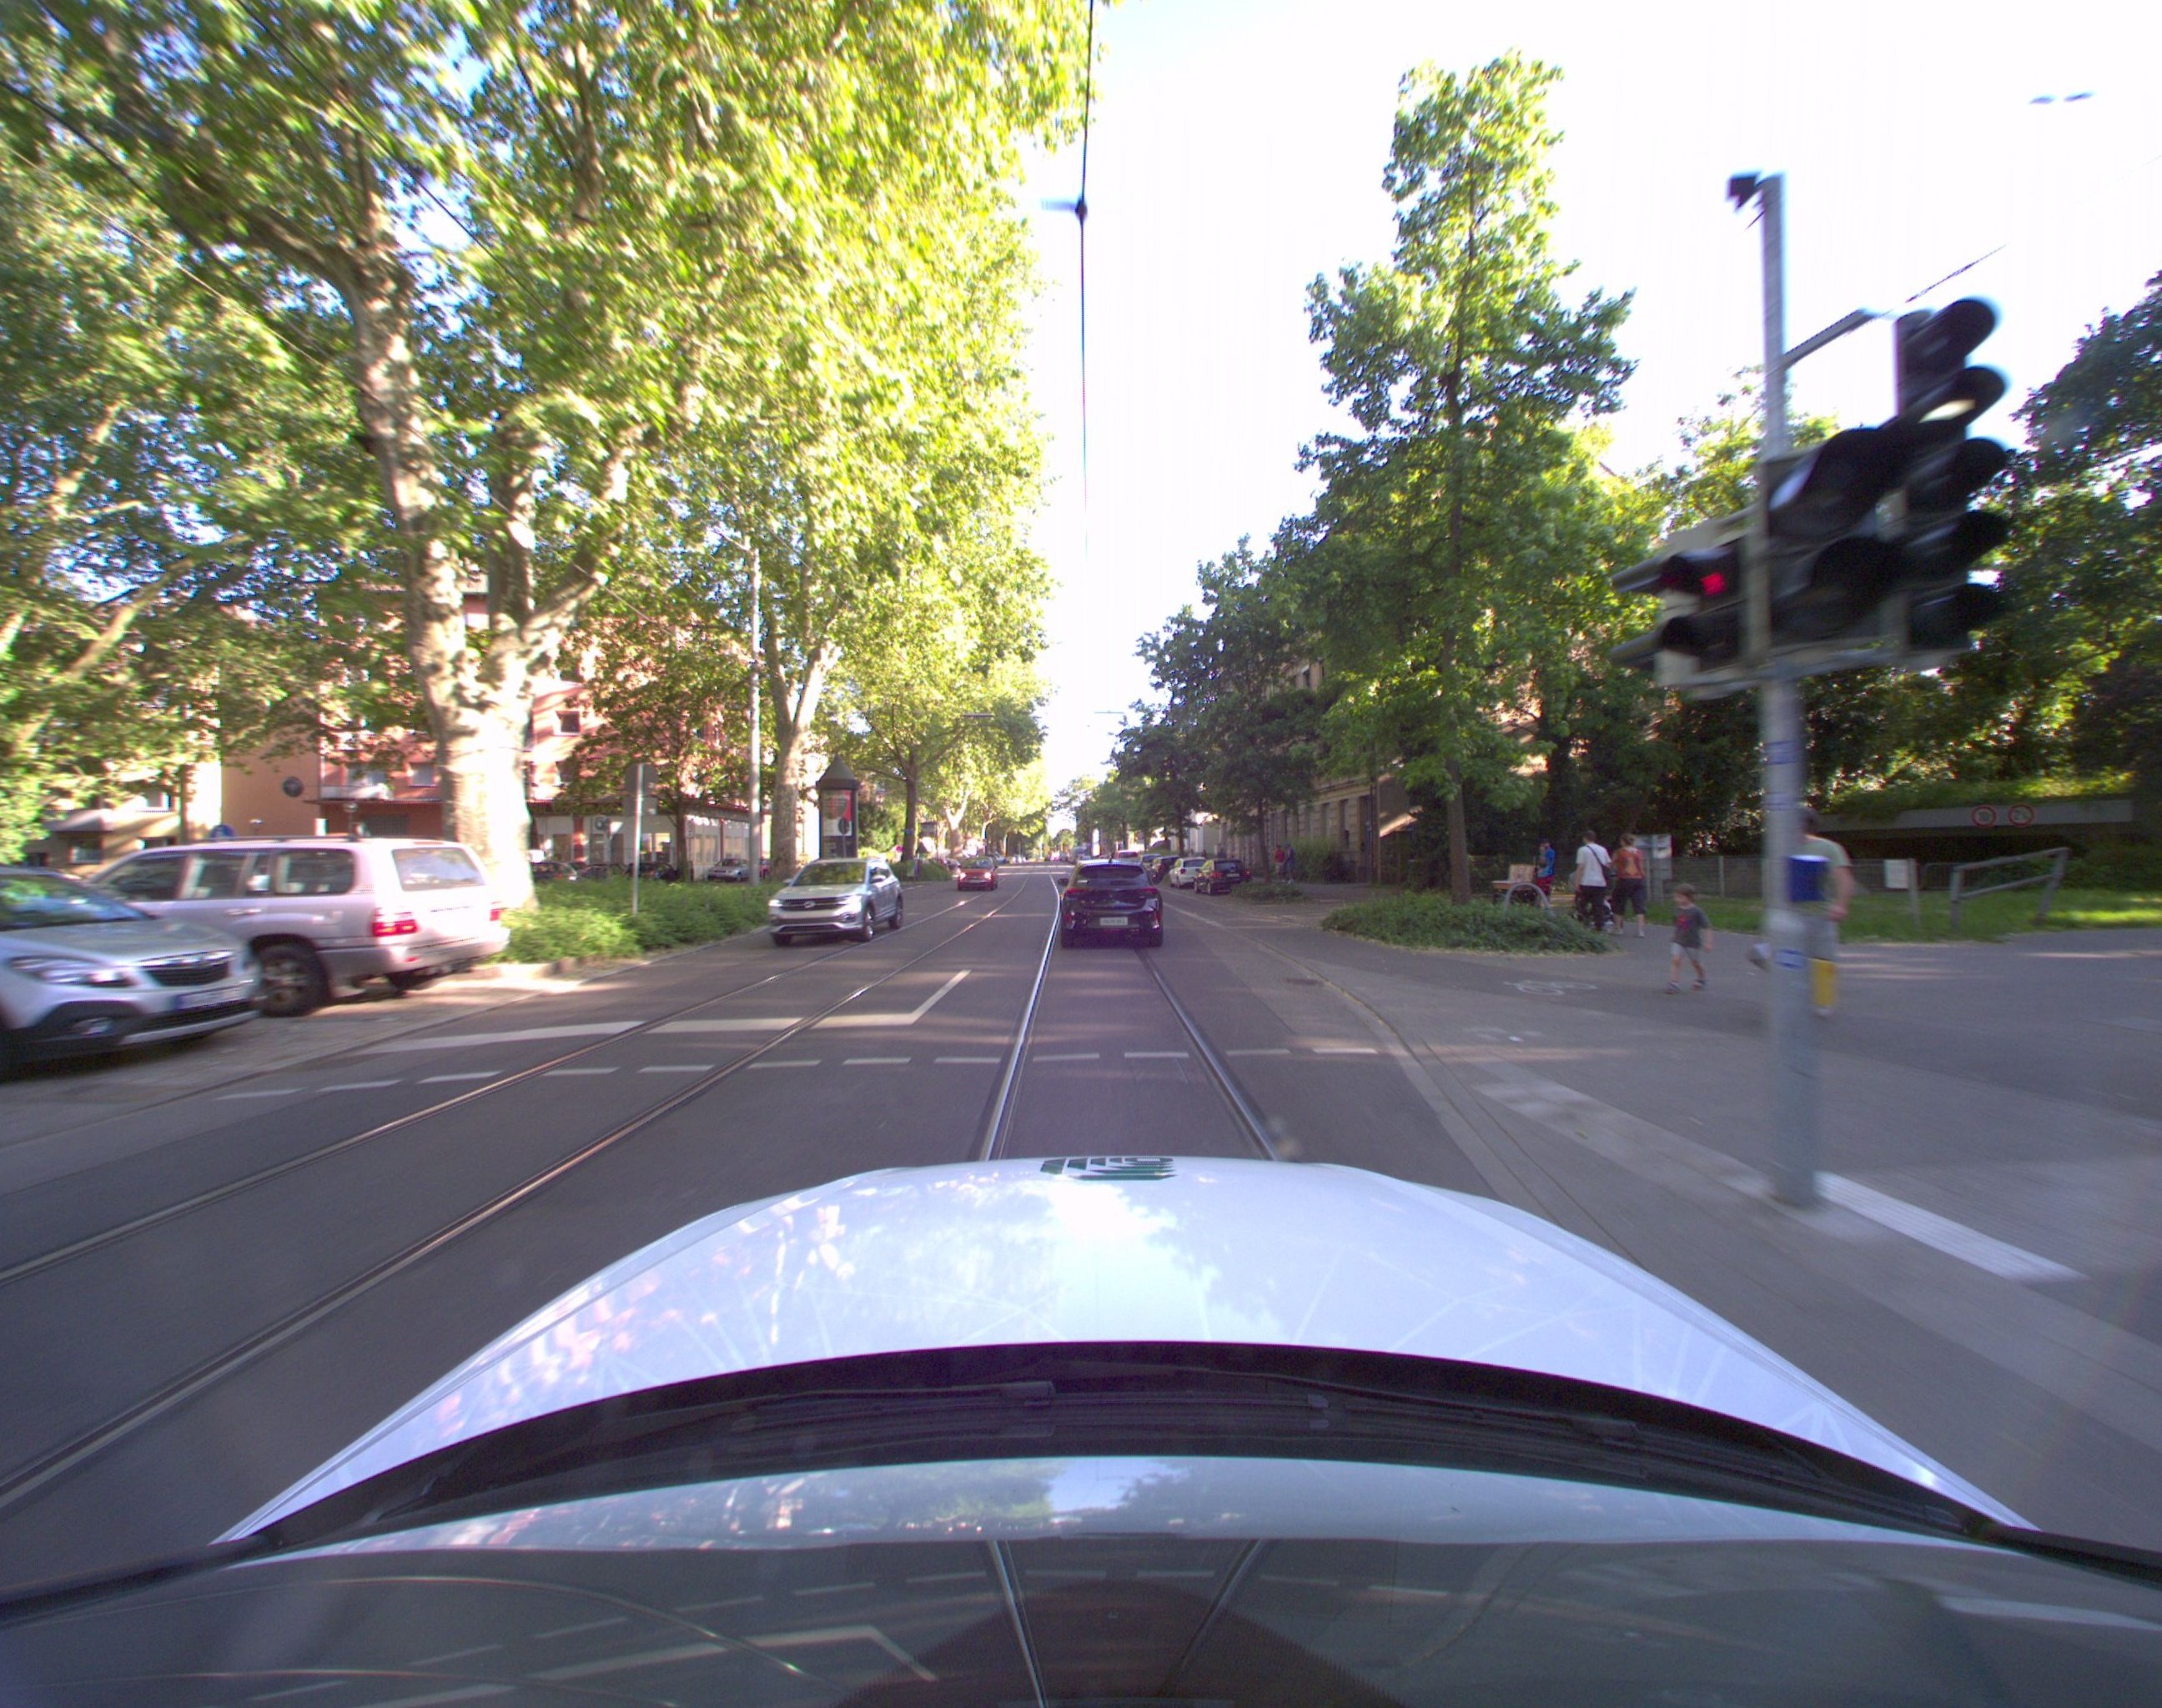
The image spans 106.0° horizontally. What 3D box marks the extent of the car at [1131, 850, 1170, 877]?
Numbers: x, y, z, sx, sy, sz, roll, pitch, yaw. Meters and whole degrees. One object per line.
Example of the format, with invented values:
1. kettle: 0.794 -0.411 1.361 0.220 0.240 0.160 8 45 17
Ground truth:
1. car: 4.492 0.626 53.302 1.880 1.568 4.237 -3 0 -3

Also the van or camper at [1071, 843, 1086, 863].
1. van or camper: -0.381 -0.154 142.441 2.249 3.216 5.525 -2 0 -3

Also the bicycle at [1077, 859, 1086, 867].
1. bicycle: 0.080 1.061 99.244 0.966 0.999 2.579 0 0 -4

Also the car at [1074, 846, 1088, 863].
1. car: -0.037 0.096 135.890 2.080 2.772 4.692 -2 0 -3

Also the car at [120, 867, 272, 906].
1. car: -34.096 1.226 31.461 3.705 1.450 1.684 0 0 -8

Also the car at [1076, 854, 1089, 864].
1. car: 0.269 0.732 128.696 1.799 1.434 3.995 -2 -1 -3

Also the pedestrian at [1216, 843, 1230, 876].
1. pedestrian: 7.860 0.305 45.046 0.722 1.793 0.602 0 -1 7

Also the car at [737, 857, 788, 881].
1. car: -21.327 0.978 54.729 1.943 1.487 3.996 0 0 -2

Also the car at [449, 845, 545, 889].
1. car: -28.666 0.609 40.184 1.995 2.003 4.900 0 0 -12

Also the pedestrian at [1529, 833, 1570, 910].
1. pedestrian: 10.788 0.395 18.771 0.619 1.725 0.551 0 -1 -19

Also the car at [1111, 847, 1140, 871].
1. car: 3.698 0.444 68.805 1.880 1.851 4.962 -3 0 -3

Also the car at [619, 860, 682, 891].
1. car: -21.656 1.048 41.116 1.814 1.493 3.982 0 0 -13

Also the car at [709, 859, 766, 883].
1. car: -21.190 1.022 50.380 1.943 1.407 3.889 0 0 -2

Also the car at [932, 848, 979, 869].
1. car: -13.647 0.436 88.714 5.027 2.259 2.081 0 0 -7

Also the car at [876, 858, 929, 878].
1. car: -12.868 1.003 58.886 3.410 1.465 1.696 0 0 -1

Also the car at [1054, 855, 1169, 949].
1. car: 0.418 0.755 14.668 1.759 1.460 3.946 0 0 -3

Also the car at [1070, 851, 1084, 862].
1. car: -0.811 0.489 149.614 2.249 1.840 5.525 -2 0 -3

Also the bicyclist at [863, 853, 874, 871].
1. bicyclist: -18.065 0.697 69.256 0.799 1.507 1.114 0 0 -8

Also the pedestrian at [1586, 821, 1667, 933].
1. pedestrian: 9.120 0.370 13.653 0.722 1.793 0.970 -3 0 8

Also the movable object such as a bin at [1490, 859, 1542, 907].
1. movable object such as a bin: 10.444 0.682 19.580 0.665 1.126 0.953 0 0 -10

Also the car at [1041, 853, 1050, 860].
1. car: -10.037 0.756 232.015 2.247 1.840 5.529 -2 0 -1

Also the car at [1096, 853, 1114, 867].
1. car: 2.701 0.704 92.548 1.699 1.423 3.974 -4 0 -3

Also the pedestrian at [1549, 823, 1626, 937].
1. pedestrian: 8.360 0.412 13.480 0.722 1.793 0.855 -3 0 8

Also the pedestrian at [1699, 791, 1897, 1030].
1. pedestrian: 6.161 0.448 7.043 0.870 1.885 0.991 0 -1 -21

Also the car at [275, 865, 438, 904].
1. car: -28.462 1.179 32.157 4.470 1.450 1.817 0 0 -11

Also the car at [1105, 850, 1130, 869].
1. car: 3.461 0.505 78.010 1.881 1.766 4.673 -1 0 -3

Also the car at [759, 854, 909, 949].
1. car: -4.710 0.823 16.163 1.811 1.568 4.112 -2 0 -3

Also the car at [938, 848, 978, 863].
1. car: -13.824 0.174 91.723 4.293 1.607 1.922 0 0 -6

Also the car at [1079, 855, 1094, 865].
1. car: 0.788 0.852 118.432 1.880 1.434 4.525 -3 0 -3

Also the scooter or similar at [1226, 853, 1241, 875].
1. scooter or similar: 8.548 0.555 45.675 0.574 1.246 1.334 0 0 -2

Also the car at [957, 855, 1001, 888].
1. car: -4.621 0.776 37.224 1.656 1.444 3.470 -1 0 -2

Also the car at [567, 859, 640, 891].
1. car: -23.693 0.996 40.568 1.996 1.526 3.982 0 0 -13

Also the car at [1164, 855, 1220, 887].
1. car: 5.300 0.777 39.326 1.880 1.368 4.102 -3 0 -3

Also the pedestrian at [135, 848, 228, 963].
1. pedestrian: -14.547 0.811 13.185 0.641 1.809 0.752 0 -1 2

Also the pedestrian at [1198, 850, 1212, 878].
1. pedestrian: 7.620 0.609 49.997 0.724 1.709 0.855 0 -1 -3

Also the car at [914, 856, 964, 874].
1. car: -12.051 0.926 69.198 3.978 1.465 1.852 0 0 -4

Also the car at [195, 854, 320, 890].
1. car: -39.276 0.828 39.031 1.944 1.618 4.468 0 0 -10

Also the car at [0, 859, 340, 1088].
1. car: -9.131 0.867 6.710 4.132 1.646 1.899 0 0 -5

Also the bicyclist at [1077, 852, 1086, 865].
1. bicyclist: 0.074 0.562 99.220 0.956 1.499 1.092 0 0 -5

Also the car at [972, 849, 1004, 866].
1. car: -15.292 0.612 134.362 5.025 2.374 2.079 -4 0 -3

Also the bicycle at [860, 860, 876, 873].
1. bicycle: -18.083 1.047 69.191 0.967 0.999 2.577 0 0 -7

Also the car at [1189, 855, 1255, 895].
1. car: 5.606 0.816 32.768 1.670 1.412 3.837 -3 0 -4

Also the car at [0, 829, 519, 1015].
1. car: -9.336 0.675 9.162 4.562 1.834 1.935 0 0 -5

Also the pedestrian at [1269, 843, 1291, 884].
1. pedestrian: 8.844 0.403 36.169 0.731 1.793 0.594 0 -1 -32

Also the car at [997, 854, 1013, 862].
1. car: -19.596 1.059 209.704 3.970 2.014 2.002 0 0 3

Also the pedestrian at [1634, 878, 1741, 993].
1. pedestrian: 6.377 0.828 8.577 0.677 1.118 0.654 0 -1 -25

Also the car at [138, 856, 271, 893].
1. car: -41.305 0.927 38.558 1.944 1.618 4.468 0 0 -10

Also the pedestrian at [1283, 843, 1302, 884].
1. pedestrian: 9.199 0.410 35.399 0.597 1.793 0.727 0 -1 -6

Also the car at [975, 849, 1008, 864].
1. car: -16.140 0.420 147.036 5.619 2.593 2.196 0 0 0

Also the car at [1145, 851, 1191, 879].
1. car: 5.119 0.654 48.585 1.881 1.467 4.586 -3 0 -4

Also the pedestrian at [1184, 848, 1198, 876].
1. pedestrian: 6.742 0.512 49.956 0.724 1.693 0.956 0 0 -2

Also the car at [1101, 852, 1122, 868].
1. car: 3.114 0.645 83.871 1.709 1.514 4.030 -3 0 -4

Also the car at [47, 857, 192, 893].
1. car: -44.883 0.932 38.180 1.944 1.618 4.468 0 0 -10

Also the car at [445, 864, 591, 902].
1. car: -22.883 1.152 33.283 4.525 1.489 1.855 0 0 -9

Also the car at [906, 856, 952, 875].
1. car: -12.319 0.932 66.332 3.410 1.465 1.758 0 0 -1

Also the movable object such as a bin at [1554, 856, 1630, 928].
1. movable object such as a bin: 9.174 0.650 14.670 0.635 1.202 1.308 -3 0 8
